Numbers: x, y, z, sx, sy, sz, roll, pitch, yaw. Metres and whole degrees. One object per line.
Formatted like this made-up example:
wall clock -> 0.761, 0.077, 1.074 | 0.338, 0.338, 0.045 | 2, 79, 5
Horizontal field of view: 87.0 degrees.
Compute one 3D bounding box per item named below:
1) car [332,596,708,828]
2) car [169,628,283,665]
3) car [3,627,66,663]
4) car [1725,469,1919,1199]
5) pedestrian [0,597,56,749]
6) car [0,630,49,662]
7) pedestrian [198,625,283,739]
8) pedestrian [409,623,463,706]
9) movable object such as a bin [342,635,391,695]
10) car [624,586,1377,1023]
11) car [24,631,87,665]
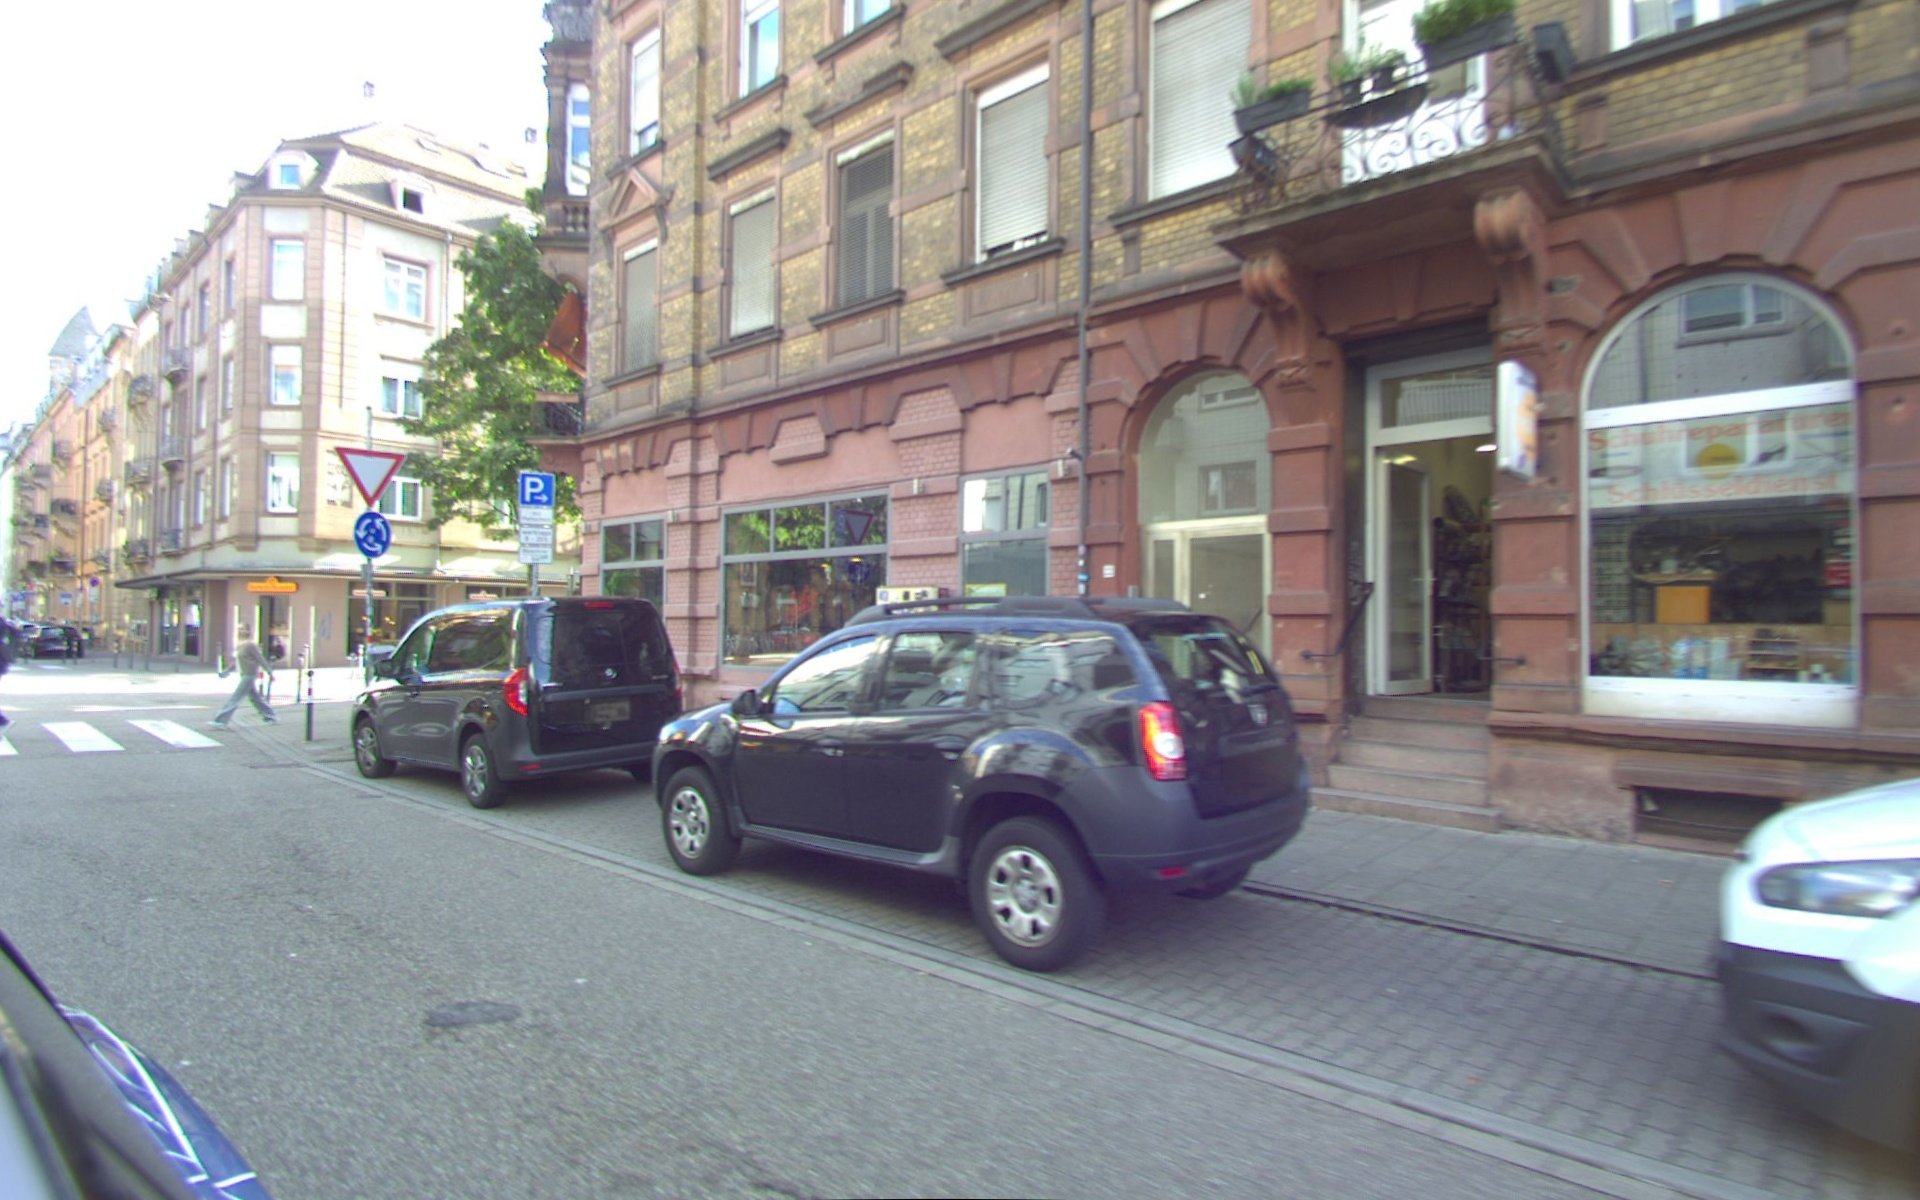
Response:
car -> -4.477, 0.927, 9.951 | 4.405, 1.787, 1.741 | -2, -2, 42
car -> -34.785, 2.184, 48.056 | 1.995, 1.633, 3.954 | -2, -2, 34
car -> -43.196, 2.067, 47.224 | 4.399, 1.597, 1.836 | -1, -1, 43
car -> 4.363, 0.582, 1.918 | 4.437, 1.886, 1.898 | -2, -2, 44
pedestrian -> -11.994, 0.890, 12.568 | 0.673, 1.854, 0.852 | 1, -3, 18
car -> -47.031, 2.277, 50.604 | 4.132, 1.508, 1.738 | -2, -2, 42
pedestrian -> -10.552, 1.184, 14.851 | 0.612, 1.590, 0.802 | -2, 0, 30
pedestrian -> -10.903, 1.325, 21.101 | 0.790, 1.683, 1.025 | 2, -2, -18
movable object such as a bin -> -7.312, 0.796, 12.469 | 0.475, 0.719, 0.379 | -2, -2, 38
car -> -0.014, 0.849, 5.975 | 4.144, 1.650, 1.972 | -2, -3, 42
car -> -39.252, 2.061, 43.907 | 3.829, 1.379, 1.700 | -2, -2, 43
